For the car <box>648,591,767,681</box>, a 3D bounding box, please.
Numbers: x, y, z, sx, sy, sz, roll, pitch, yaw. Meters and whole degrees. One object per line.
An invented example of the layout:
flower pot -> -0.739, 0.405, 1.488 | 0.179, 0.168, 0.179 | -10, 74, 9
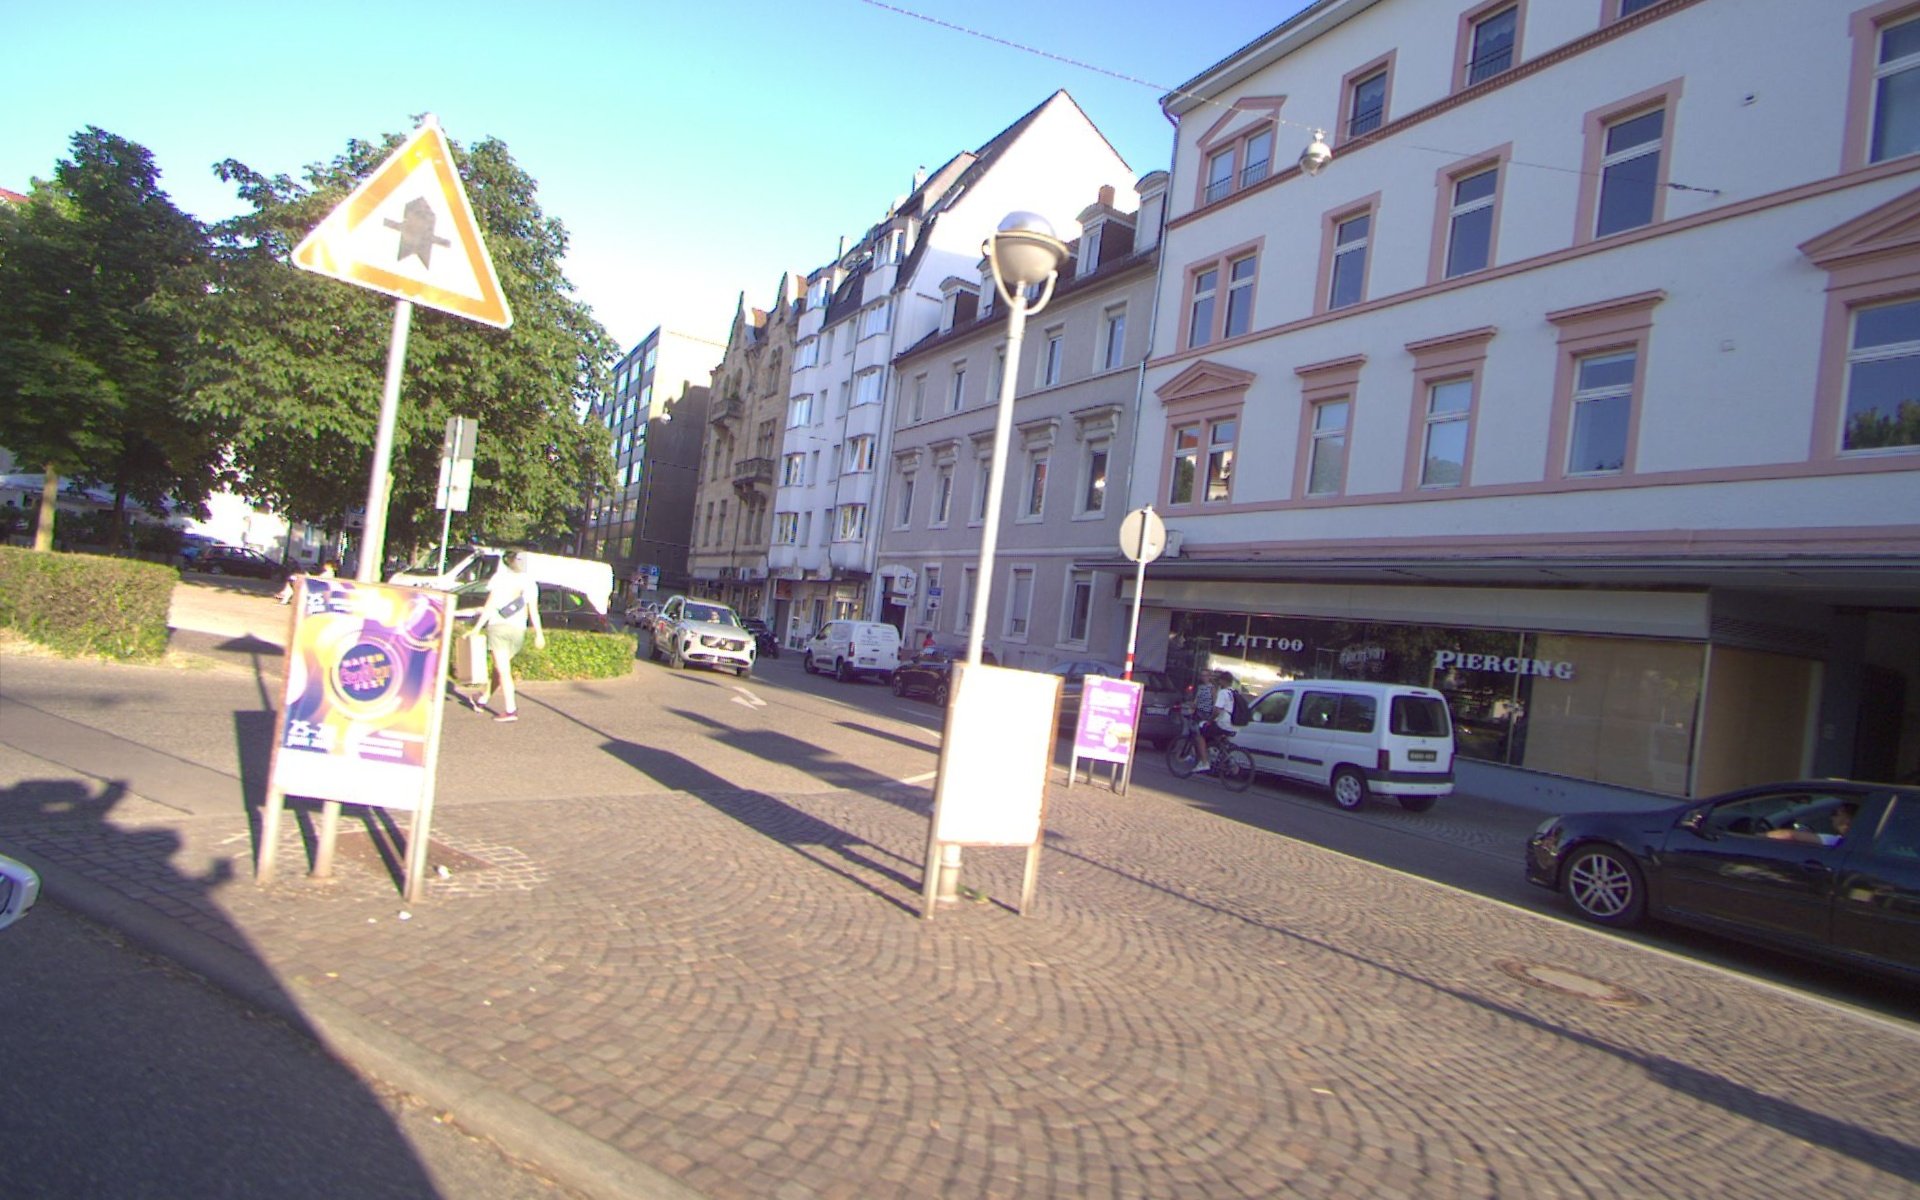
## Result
car -> -6.456, 0.850, 25.437 | 1.976, 1.792, 3.976 | 9, -2, -25

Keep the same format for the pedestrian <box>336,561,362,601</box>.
pedestrian -> -33.587, -1.045, 55.284 | 0.959, 2.036, 1.020 | 8, -2, -30

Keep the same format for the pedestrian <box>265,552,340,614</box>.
pedestrian -> -15.406, -0.383, 23.573 | 0.846, 1.240, 1.099 | 7, -3, 34

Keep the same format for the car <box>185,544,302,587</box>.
car -> -33.344, -1.581, 46.908 | 1.825, 1.315, 3.990 | 6, -3, 37

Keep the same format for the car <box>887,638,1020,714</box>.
car -> -0.234, 1.878, 25.383 | 1.721, 1.479, 3.559 | 7, -2, -30

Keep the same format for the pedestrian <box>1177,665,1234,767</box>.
pedestrian -> 4.361, 2.048, 17.877 | 0.547, 1.705, 0.570 | 8, -2, -29

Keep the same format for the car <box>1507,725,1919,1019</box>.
car -> 6.518, 1.991, 7.310 | 1.735, 1.477, 4.074 | 9, -3, -29

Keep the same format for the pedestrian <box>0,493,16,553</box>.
pedestrian -> -32.516, -2.630, 33.832 | 0.931, 1.945, 0.847 | 9, -2, -43

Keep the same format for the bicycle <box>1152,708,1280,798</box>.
bicycle -> 3.779, 2.251, 15.023 | 0.575, 0.998, 1.921 | 9, -3, -30

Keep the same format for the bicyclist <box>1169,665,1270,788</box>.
bicyclist -> 3.859, 1.869, 14.984 | 0.772, 1.636, 1.017 | 9, -2, -31

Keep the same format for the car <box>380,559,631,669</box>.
car -> -8.606, 0.347, 19.410 | 1.846, 1.569, 4.000 | 6, -3, 27

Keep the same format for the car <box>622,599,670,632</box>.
car -> -17.942, 0.874, 57.446 | 1.739, 1.528, 3.518 | 7, -2, -31

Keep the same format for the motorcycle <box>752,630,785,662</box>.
motorcycle -> -7.365, 1.745, 38.688 | 0.483, 1.056, 1.817 | 5, 0, -34

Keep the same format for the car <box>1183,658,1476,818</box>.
car -> 5.486, 2.020, 15.411 | 1.721, 1.821, 3.888 | 7, -2, -30

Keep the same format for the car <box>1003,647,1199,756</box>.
car -> 2.679, 1.942, 19.982 | 1.721, 1.636, 3.888 | 7, -2, -30

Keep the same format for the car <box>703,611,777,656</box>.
car -> -9.236, 1.366, 41.958 | 1.739, 1.528, 3.944 | 7, -2, -31

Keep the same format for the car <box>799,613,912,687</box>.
car -> -3.284, 1.488, 30.856 | 1.909, 1.863, 3.990 | 7, -2, -29

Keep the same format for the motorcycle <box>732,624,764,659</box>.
motorcycle -> -8.113, 1.577, 38.503 | 0.484, 1.189, 1.591 | 5, 0, -37

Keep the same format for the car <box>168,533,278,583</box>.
car -> -37.047, -2.091, 50.663 | 1.825, 1.802, 3.990 | 6, -3, 37

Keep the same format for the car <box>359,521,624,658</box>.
car -> -11.574, -0.142, 25.332 | 2.120, 2.623, 5.521 | 6, -3, 34

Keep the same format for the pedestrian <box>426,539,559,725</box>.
pedestrian -> -4.744, 0.313, 10.195 | 0.855, 1.725, 0.932 | 9, -2, -36

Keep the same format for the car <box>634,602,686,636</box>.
car -> -16.020, 0.997, 53.627 | 1.739, 1.528, 3.518 | 7, -2, -31
